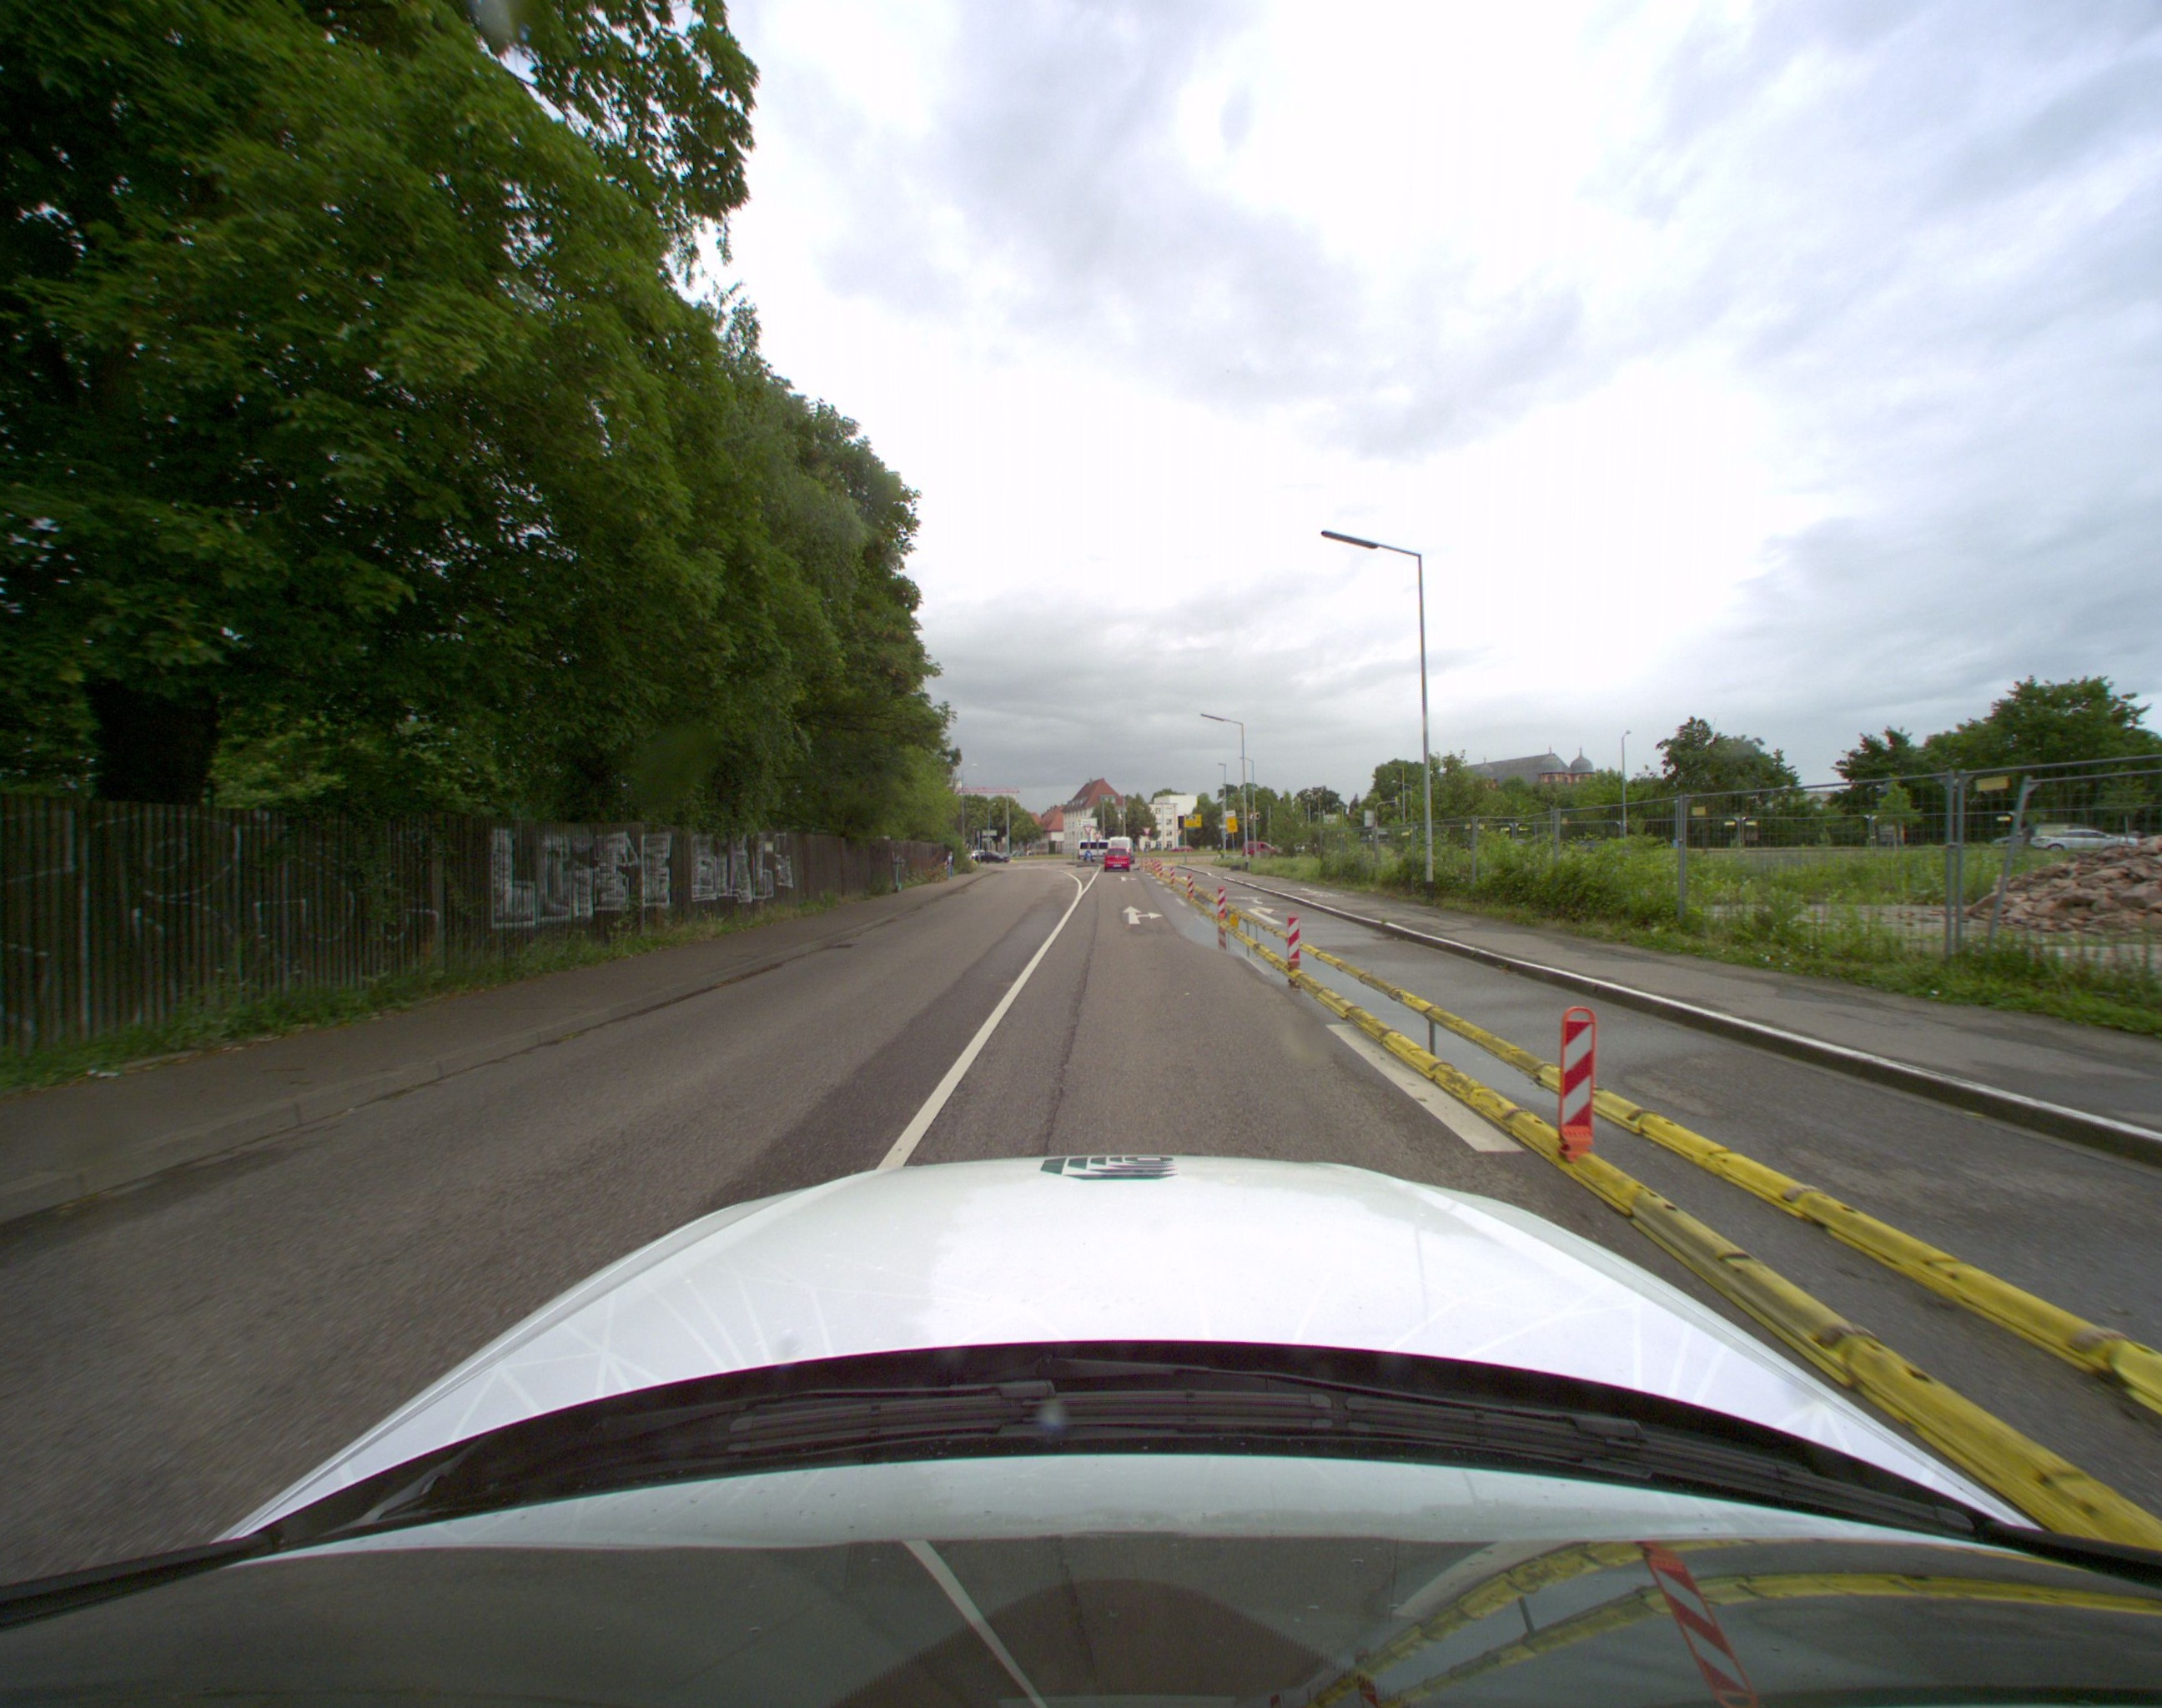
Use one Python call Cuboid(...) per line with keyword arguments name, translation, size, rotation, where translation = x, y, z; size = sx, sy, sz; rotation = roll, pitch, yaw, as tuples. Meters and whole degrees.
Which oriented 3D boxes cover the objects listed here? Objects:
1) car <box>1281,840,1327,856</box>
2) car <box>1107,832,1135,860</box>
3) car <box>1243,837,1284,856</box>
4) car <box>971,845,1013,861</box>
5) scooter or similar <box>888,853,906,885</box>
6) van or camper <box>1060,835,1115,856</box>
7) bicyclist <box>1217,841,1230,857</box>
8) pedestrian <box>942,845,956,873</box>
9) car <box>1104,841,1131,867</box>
Cuboid(name="car", translation=(25.525, -0.689, 93.162), size=(4.550, 1.795, 2.128), rotation=(-1, 1, 43))
Cuboid(name="car", translation=(3.821, -0.745, 77.119), size=(2.182, 2.540, 4.974), rotation=(0, 0, 8))
Cuboid(name="car", translation=(19.372, -0.789, 86.579), size=(4.165, 1.917, 2.123), rotation=(-1, 0, 13))
Cuboid(name="car", translation=(-10.289, -0.161, 94.436), size=(4.331, 1.750, 2.007), rotation=(-1, 0, 12))
Cuboid(name="scooter or similar", translation=(-6.969, 0.562, 30.931), size=(0.422, 1.170, 1.302), rotation=(-1, 0, -3))
Cuboid(name="van or camper", translation=(0.726, -0.882, 86.025), size=(5.502, 2.115, 2.005), rotation=(-1, 0, 8))
Cuboid(name="bicyclist", translation=(12.682, -0.426, 72.318), size=(1.057, 1.401, 0.616), rotation=(-1, 0, 4))
Cuboid(name="pedestrian", translation=(-7.296, 0.276, 45.116), size=(0.610, 1.529, 0.723), rotation=(-1, 0, -2))
Cuboid(name="car", translation=(2.413, -0.037, 53.635), size=(1.667, 1.640, 3.630), rotation=(0, 0, 2))
